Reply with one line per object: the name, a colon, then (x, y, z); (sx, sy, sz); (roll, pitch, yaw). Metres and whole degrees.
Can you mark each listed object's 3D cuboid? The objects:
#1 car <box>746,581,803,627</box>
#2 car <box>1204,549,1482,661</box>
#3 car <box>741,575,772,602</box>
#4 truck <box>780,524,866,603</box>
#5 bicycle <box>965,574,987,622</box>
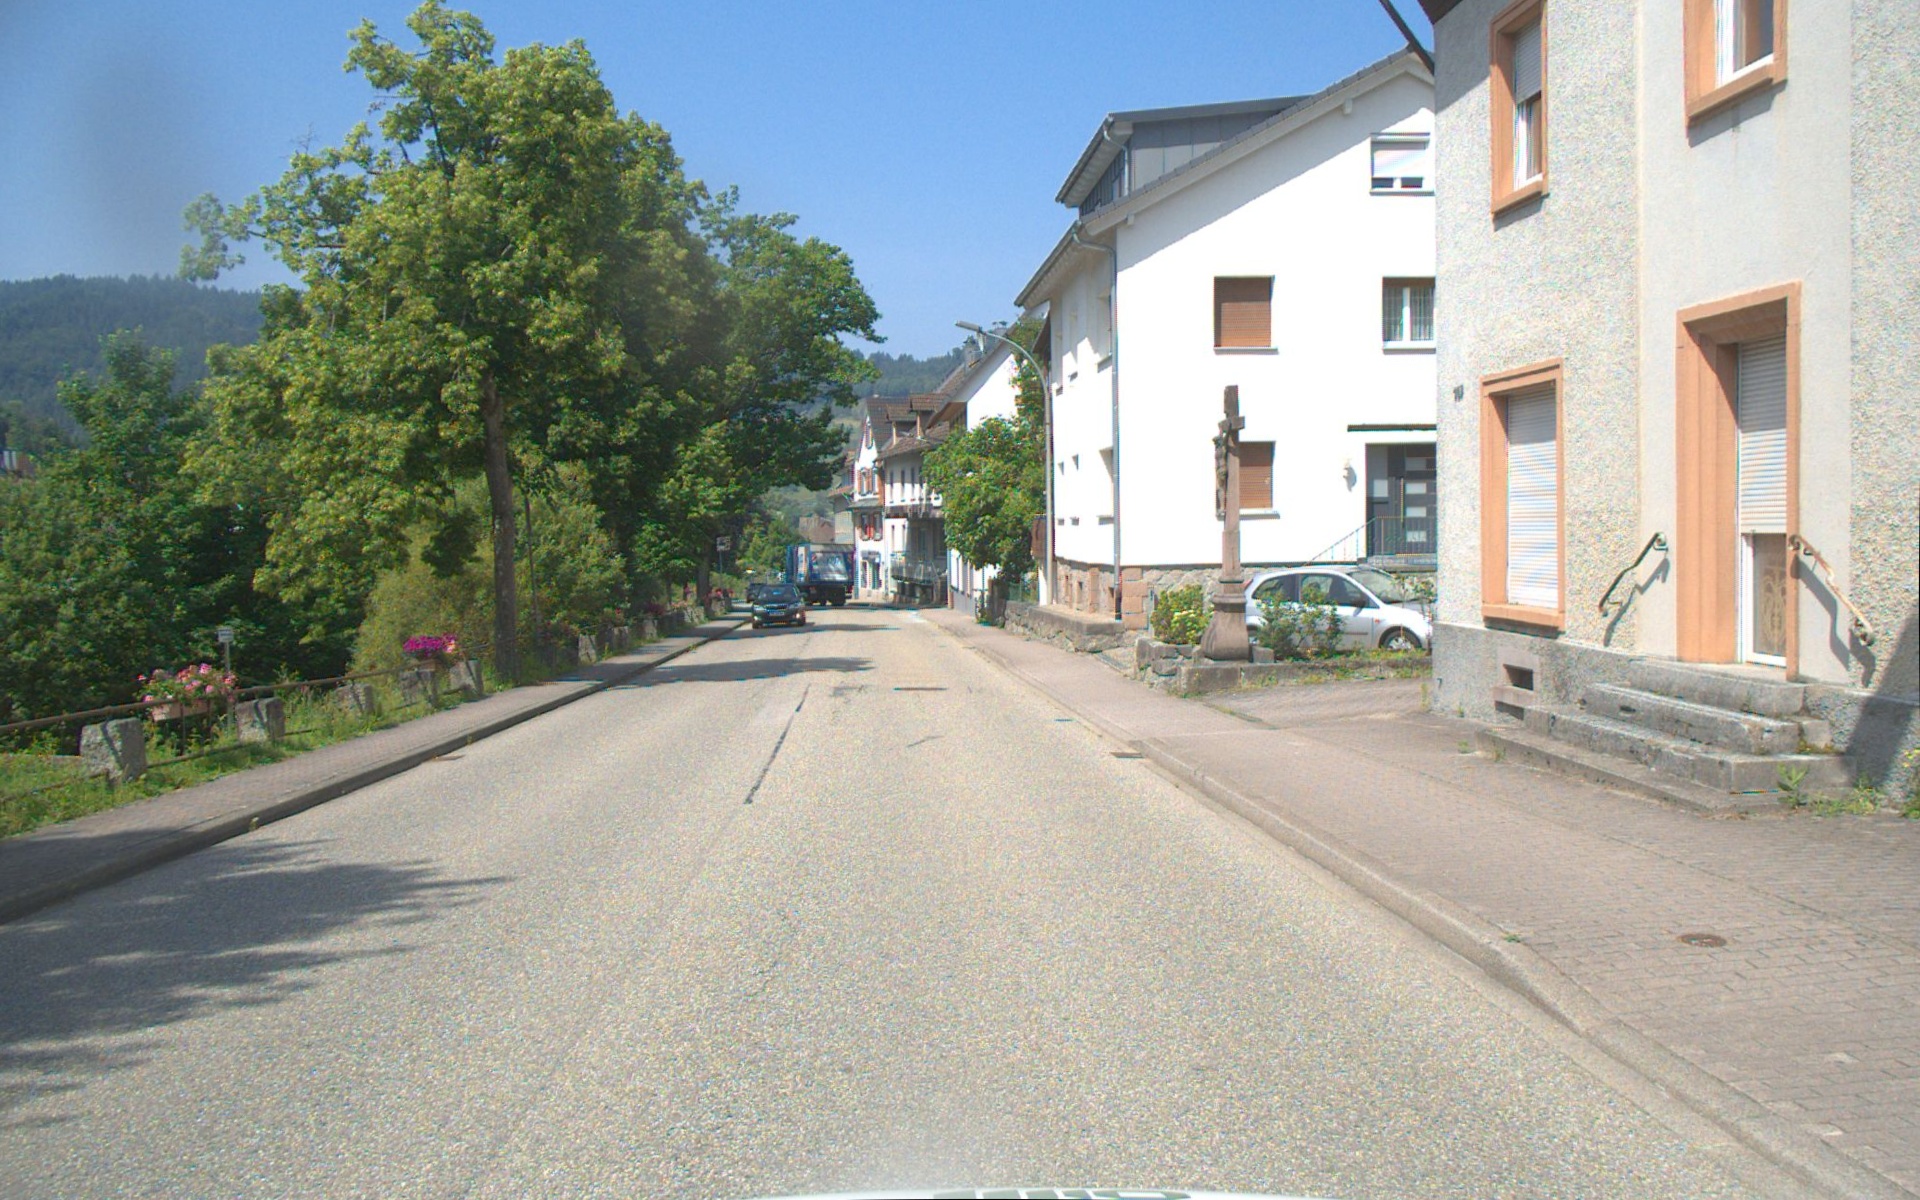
car: (-6.250, 0.116, 56.019); (1.633, 1.442, 4.084); (-3, 0, -3)
car: (5.702, 0.094, 24.849); (3.709, 1.452, 1.601); (-3, 1, 42)
car: (-15.551, -0.855, 126.221); (1.745, 1.764, 3.985); (-4, -1, -14)
truck: (-7.943, -2.000, 94.659); (3.308, 3.847, 8.407); (-4, -1, -14)
bicycle: (0.488, -0.079, 50.893); (0.417, 1.420, 2.276); (-4, 1, -3)
